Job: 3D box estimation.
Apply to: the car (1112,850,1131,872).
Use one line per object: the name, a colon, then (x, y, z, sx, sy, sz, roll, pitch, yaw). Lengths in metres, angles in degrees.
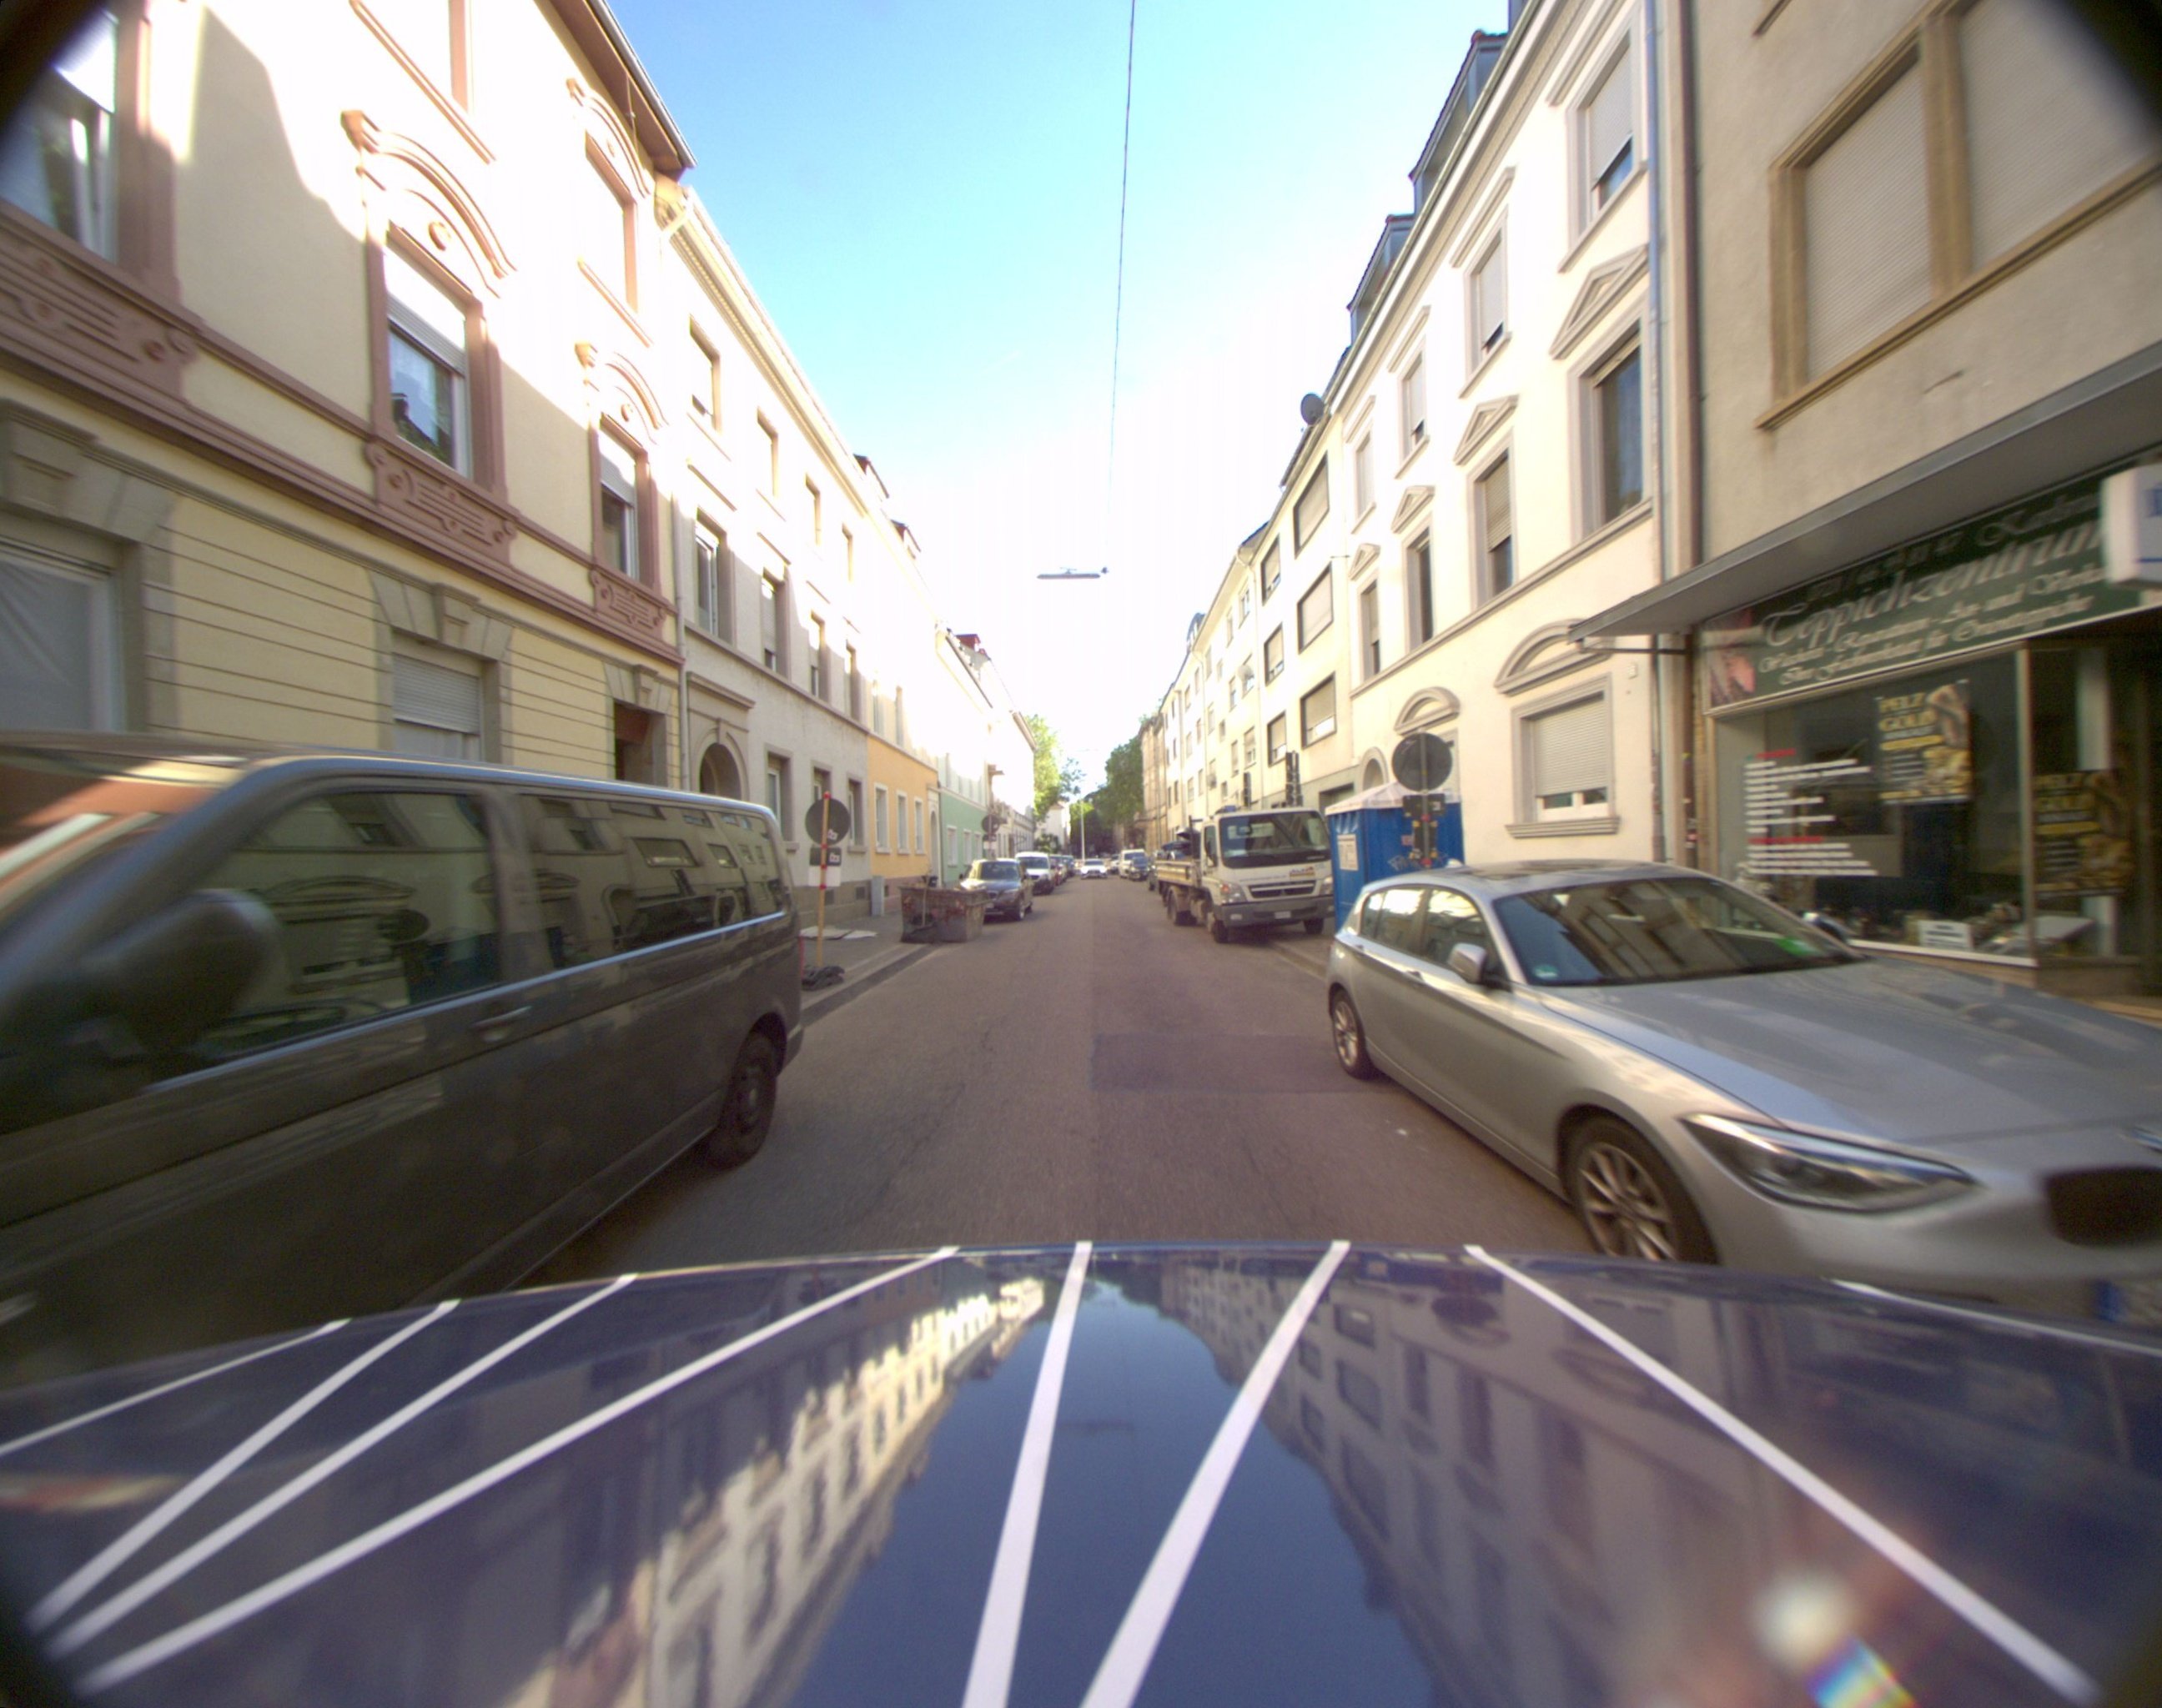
car: (3.847, 0.650, 72.776, 1.585, 1.971, 4.068, -2, 1, 1)

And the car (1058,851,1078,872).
car: (-1.263, 0.731, 75.148, 1.786, 1.867, 4.022, -2, 1, 1)

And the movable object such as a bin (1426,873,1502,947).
movable object such as a bin: (5.910, 0.847, 11.756, 0.788, 1.066, 0.696, -2, 1, -3)

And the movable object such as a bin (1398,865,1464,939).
movable object such as a bin: (5.923, 0.796, 12.886, 0.759, 1.184, 0.686, -2, 1, -3)

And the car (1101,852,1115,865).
car: (3.640, 0.598, 102.430, 1.786, 1.674, 4.022, -2, 1, 1)

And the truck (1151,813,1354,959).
truck: (3.022, 0.464, 15.185, 2.171, 2.295, 6.345, 0, 1, -4)

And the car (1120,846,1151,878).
car: (3.773, 0.546, 53.076, 1.913, 2.076, 4.696, -2, 0, 1)

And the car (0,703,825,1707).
car: (-2.687, 0.812, 2.394, 1.975, 2.017, 4.899, -3, 0, 0)

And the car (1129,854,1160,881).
car: (3.850, 0.795, 46.569, 1.730, 1.483, 4.115, -3, 0, 3)

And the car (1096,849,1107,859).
car: (3.876, -0.040, 142.126, 1.985, 1.674, 4.022, -2, 1, 1)

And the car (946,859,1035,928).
car: (-2.276, 0.952, 20.064, 1.744, 1.534, 4.051, -2, 1, 1)

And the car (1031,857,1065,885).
car: (-1.790, 0.961, 42.449, 1.578, 1.459, 3.870, -2, -1, 1)

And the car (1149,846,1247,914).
car: (3.443, 0.710, 23.474, 1.918, 1.871, 5.183, 0, 0, -4)

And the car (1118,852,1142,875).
car: (4.064, 0.745, 63.432, 1.768, 1.724, 4.836, -2, 1, 1)

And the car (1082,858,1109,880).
car: (1.008, 1.018, 53.265, 1.761, 1.399, 4.022, -2, 1, 1)

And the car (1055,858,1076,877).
car: (-1.254, 1.127, 63.788, 1.588, 1.409, 3.557, -2, 1, 1)

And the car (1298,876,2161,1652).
car: (2.561, 0.921, 3.828, 1.669, 1.514, 4.489, 0, 0, 0)

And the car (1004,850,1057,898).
car: (-2.127, 0.792, 33.173, 1.898, 1.875, 4.457, -2, 1, 1)

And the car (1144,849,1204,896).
car: (3.759, 0.702, 31.516, 1.759, 1.759, 4.177, 0, 1, -3)

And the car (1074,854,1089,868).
car: (0.079, 0.872, 96.229, 1.857, 1.620, 4.072, -2, 1, 1)

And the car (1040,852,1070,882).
car: (-1.604, 0.786, 48.144, 1.604, 1.772, 3.760, -2, 0, 1)
